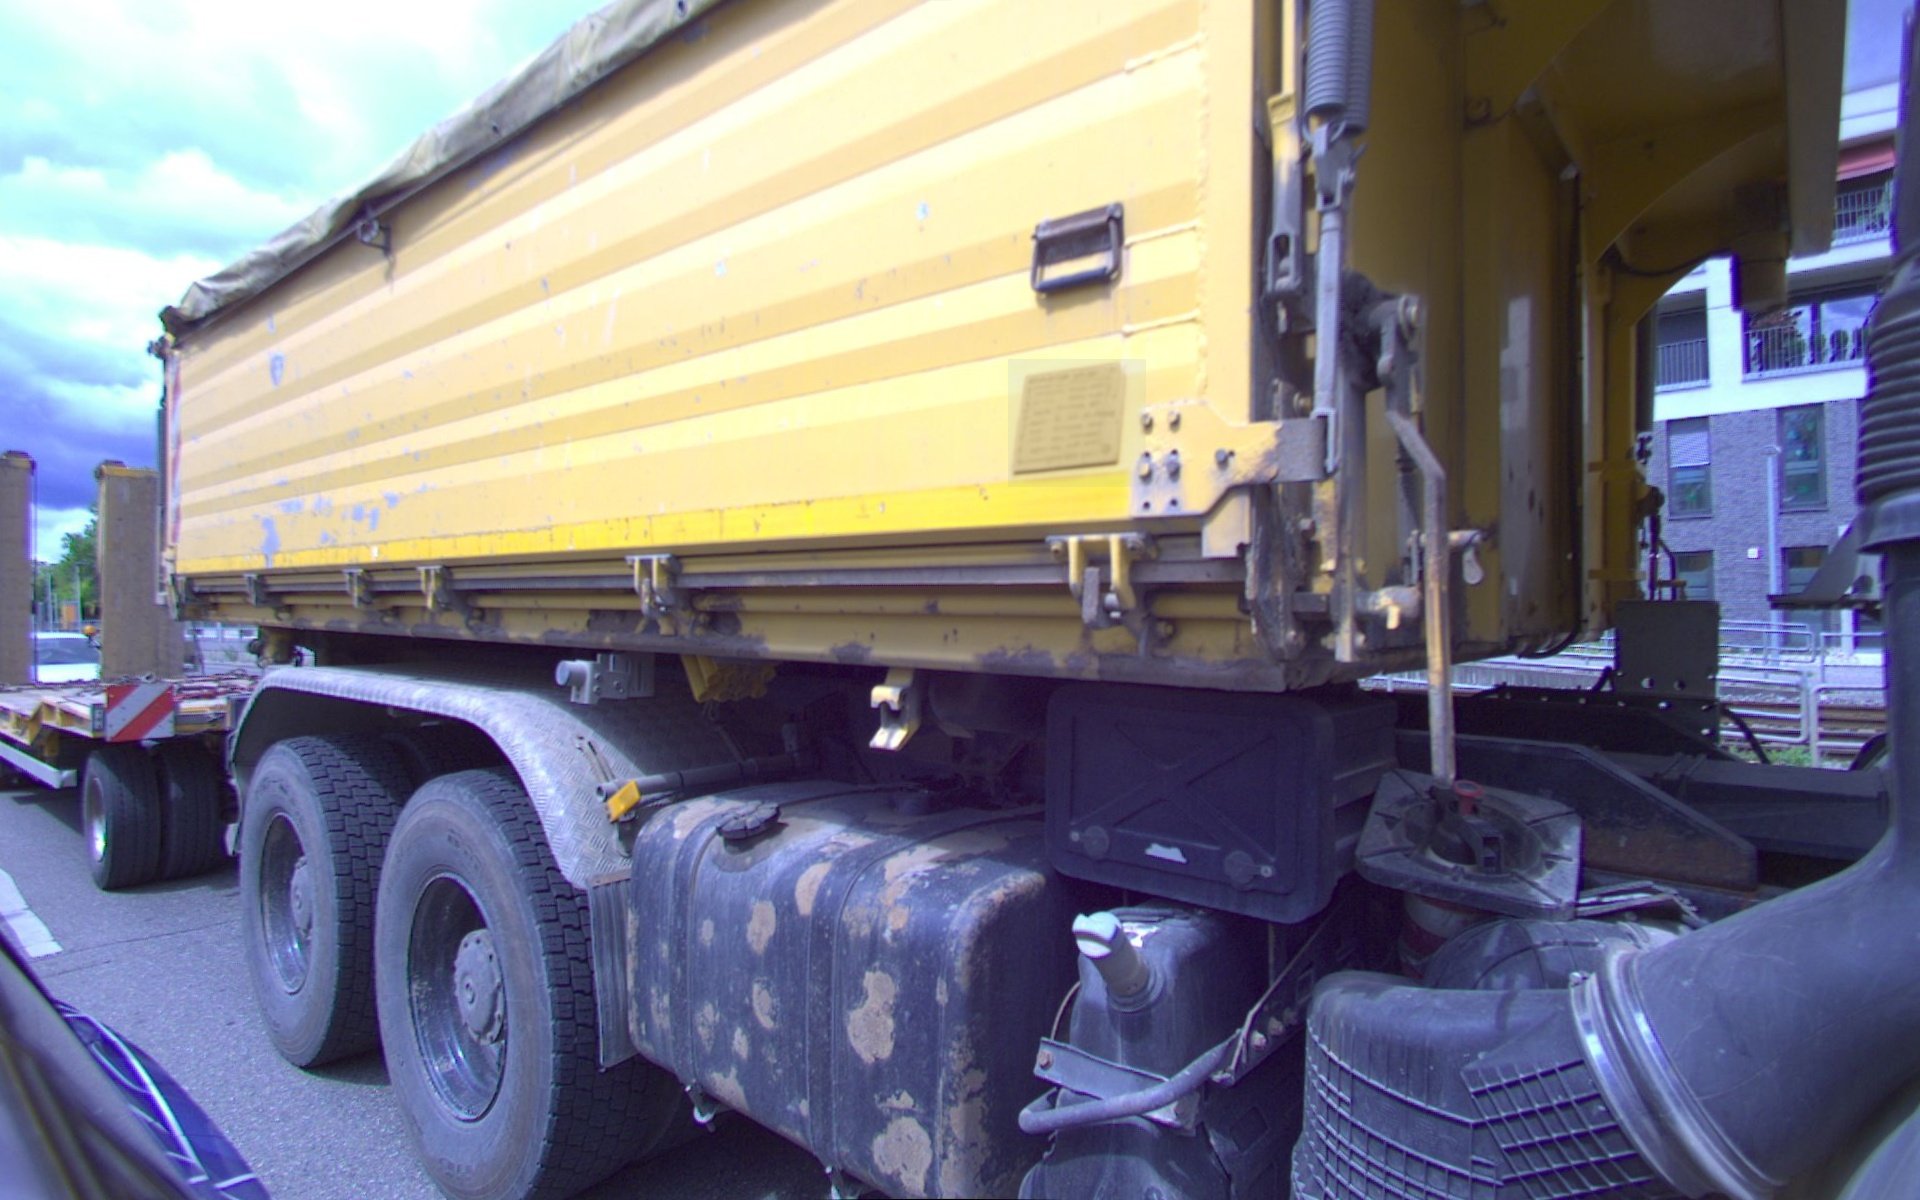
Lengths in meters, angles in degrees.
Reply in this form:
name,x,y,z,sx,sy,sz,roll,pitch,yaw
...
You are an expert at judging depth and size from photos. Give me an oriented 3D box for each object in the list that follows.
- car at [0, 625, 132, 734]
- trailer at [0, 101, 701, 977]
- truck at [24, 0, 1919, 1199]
name,x,y,z,sx,sy,sz,roll,pitch,yaw
car,-14.047,1.131,15.314,3.784,1.427,1.761,-2,-1,41
trailer,-6.864,-0.140,9.011,10.957,3.726,3.018,-2,-1,40
truck,0.092,-0.224,2.837,7.999,3.420,3.019,-2,-1,40
